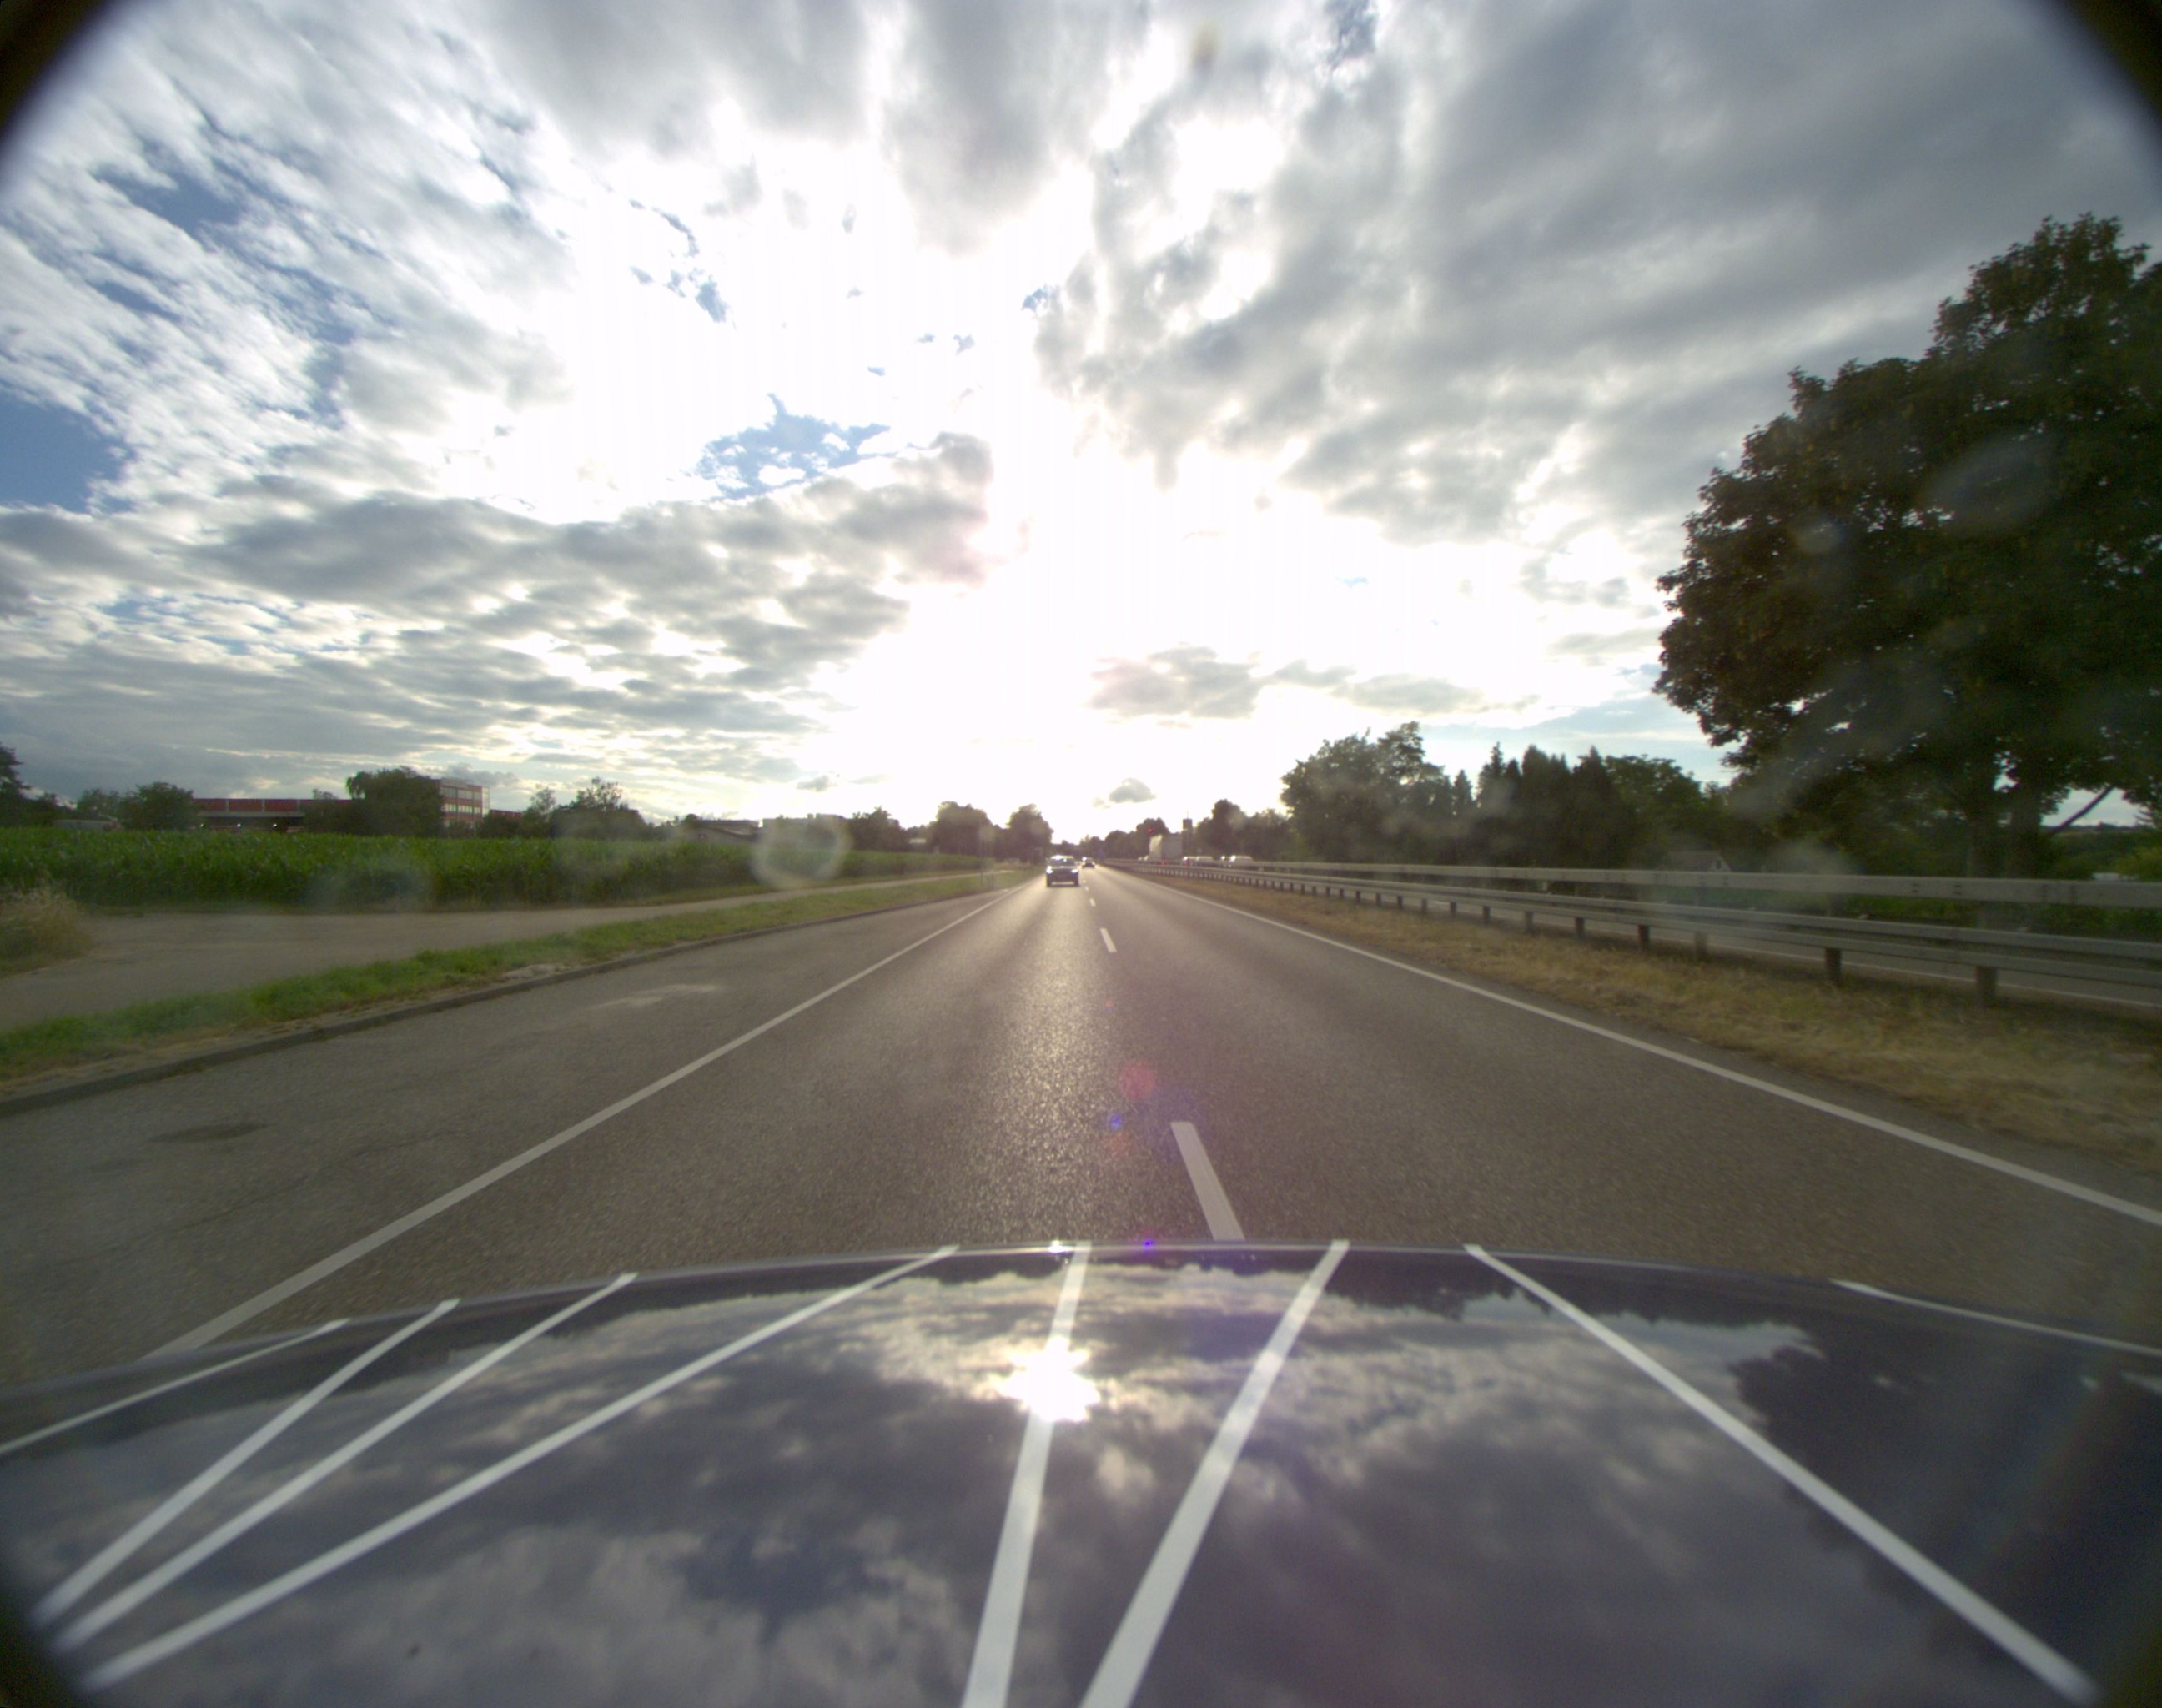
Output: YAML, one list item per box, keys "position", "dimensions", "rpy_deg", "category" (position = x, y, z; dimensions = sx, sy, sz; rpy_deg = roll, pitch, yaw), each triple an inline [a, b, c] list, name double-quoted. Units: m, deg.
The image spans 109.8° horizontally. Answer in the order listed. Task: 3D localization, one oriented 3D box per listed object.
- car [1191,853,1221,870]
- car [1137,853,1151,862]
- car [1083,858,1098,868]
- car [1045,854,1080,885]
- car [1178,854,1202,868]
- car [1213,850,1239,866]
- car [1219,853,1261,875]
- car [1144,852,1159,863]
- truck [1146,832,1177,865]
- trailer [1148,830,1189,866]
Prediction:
- position: [11.243, 0.620, 68.722]
  dimensions: [1.871, 1.469, 4.825]
  rpy_deg: [0, 0, -1]
  category: "car"
- position: [10.598, 0.569, 127.751]
  dimensions: [1.912, 1.420, 5.151]
  rpy_deg: [0, 0, -1]
  category: "car"
- position: [1.324, 1.221, 107.440]
  dimensions: [1.998, 1.320, 4.000]
  rpy_deg: [0, 0, 1]
  category: "car"
- position: [-1.056, 0.860, 44.257]
  dimensions: [1.849, 1.640, 4.480]
  rpy_deg: [-3, 0, -1]
  category: "car"
- position: [11.185, 0.726, 78.012]
  dimensions: [1.793, 1.378, 4.160]
  rpy_deg: [0, 0, -1]
  category: "car"
- position: [14.525, 0.396, 76.313]
  dimensions: [1.871, 1.554, 4.151]
  rpy_deg: [0, 0, -1]
  category: "car"
- position: [11.102, 0.657, 53.387]
  dimensions: [1.871, 1.469, 4.935]
  rpy_deg: [0, 0, -1]
  category: "car"
- position: [10.884, 0.519, 118.124]
  dimensions: [1.912, 1.600, 4.404]
  rpy_deg: [0, 0, -1]
  category: "car"
- position: [10.668, -0.714, 101.057]
  dimensions: [3.483, 4.126, 6.049]
  rpy_deg: [0, 0, 0]
  category: "truck"
- position: [10.705, -0.705, 94.628]
  dimensions: [3.474, 4.126, 13.914]
  rpy_deg: [0, 0, 0]
  category: "trailer"
